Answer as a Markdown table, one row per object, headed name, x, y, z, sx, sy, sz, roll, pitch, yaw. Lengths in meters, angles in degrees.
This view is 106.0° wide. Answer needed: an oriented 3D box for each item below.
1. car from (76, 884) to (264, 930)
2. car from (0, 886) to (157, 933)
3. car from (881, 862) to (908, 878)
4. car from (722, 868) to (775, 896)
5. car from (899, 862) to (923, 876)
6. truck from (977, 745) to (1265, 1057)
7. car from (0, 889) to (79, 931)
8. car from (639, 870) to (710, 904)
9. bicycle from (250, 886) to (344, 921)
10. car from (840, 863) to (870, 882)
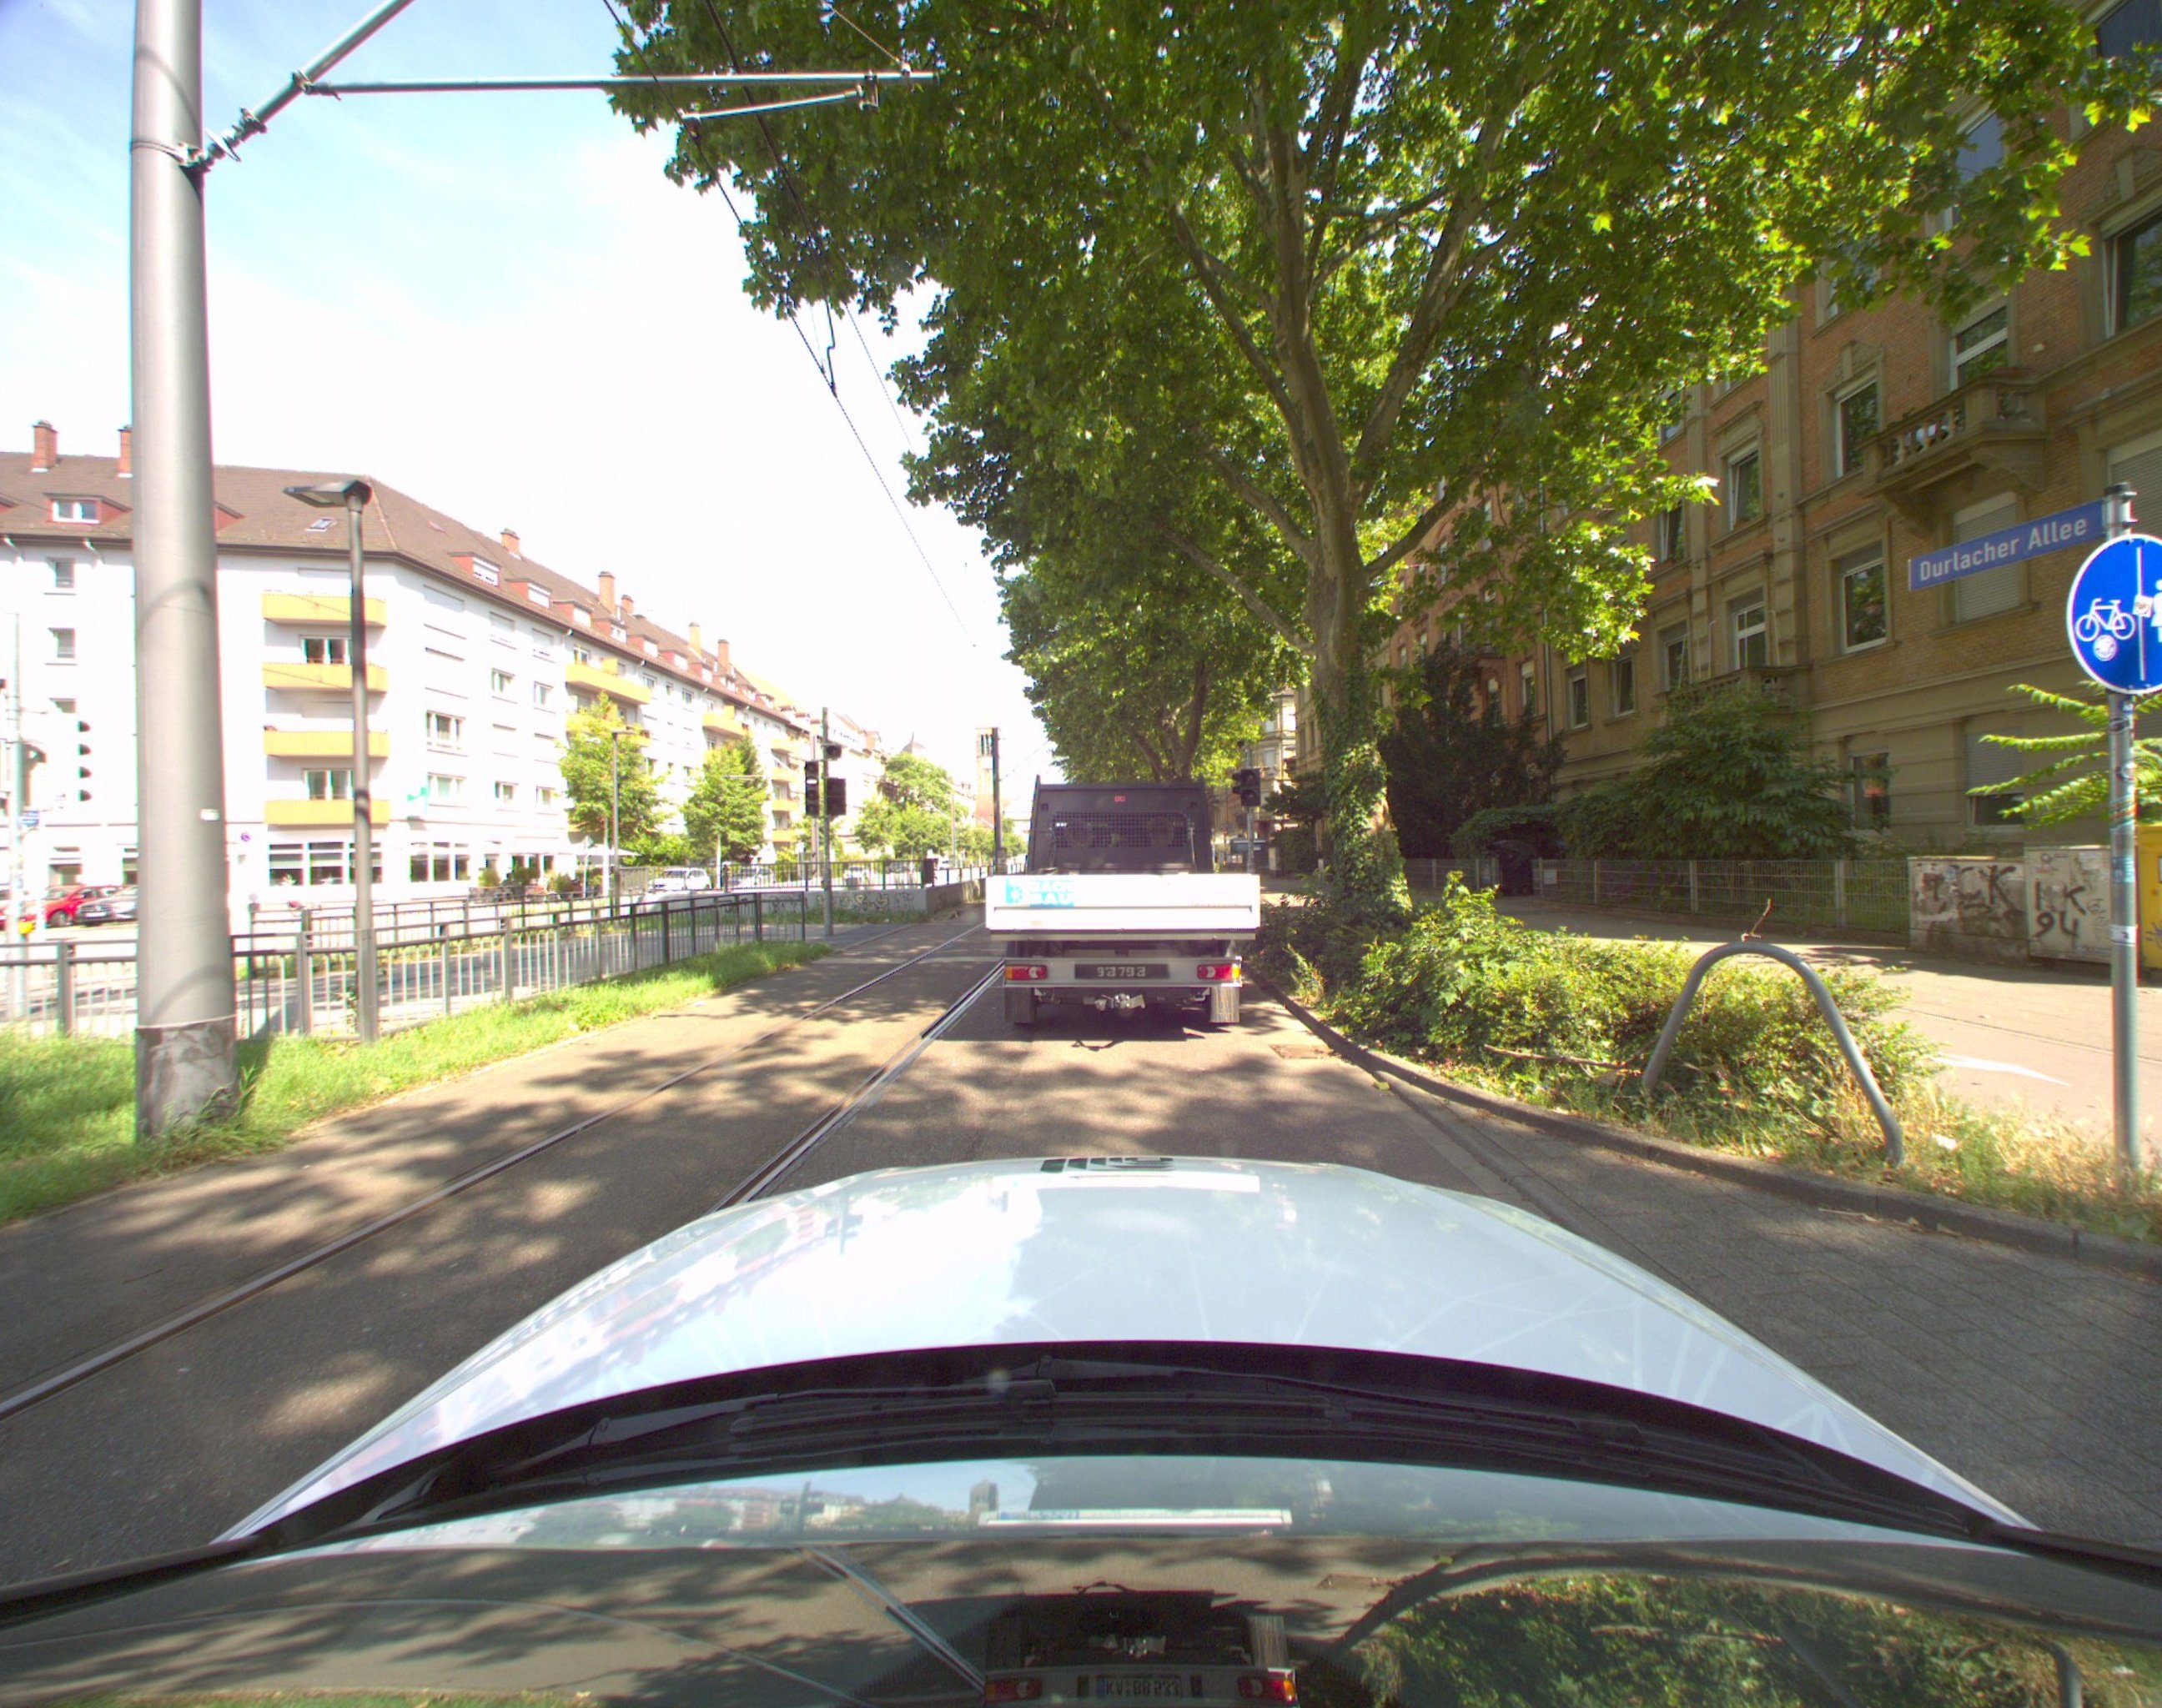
| name | x | y | z | sx | sy | sz | roll | pitch | yaw |
| --- | --- | --- | --- | --- | --- | --- | --- | --- | --- |
| car | -33.173 | 1.875 | 29.896 | 1.830 | 1.376 | 4.637 | -2 | 0 | -4 |
| car | -36.532 | 1.964 | 29.325 | 1.929 | 1.406 | 4.158 | -2 | 0 | -6 |
| car | -19.429 | 1.653 | 84.916 | 1.764 | 1.498 | 4.000 | -2 | 0 | 0 |
| car | -20.311 | 1.672 | 49.907 | 1.767 | 1.498 | 3.994 | -3 | 0 | -4 |
| car | -19.344 | 1.692 | 92.757 | 1.764 | 1.498 | 4.000 | -2 | 0 | 0 |
| truck | 0.404 | 0.367 | 8.327 | 2.130 | 2.319 | 4.404 | -1 | 0 | 3 |
| car | -39.320 | 2.047 | 29.158 | 1.929 | 1.406 | 4.158 | -2 | 0 | -6 |
| car | -20.534 | 1.630 | 41.326 | 1.767 | 1.498 | 3.994 | -3 | 0 | -4 |
| bicycle | -30.108 | 1.872 | 31.358 | 0.908 | 1.137 | 2.807 | -2 | 0 | -1 |
| car | -19.785 | 1.590 | 71.382 | 1.767 | 1.498 | 3.994 | -2 | 0 | -4 |
